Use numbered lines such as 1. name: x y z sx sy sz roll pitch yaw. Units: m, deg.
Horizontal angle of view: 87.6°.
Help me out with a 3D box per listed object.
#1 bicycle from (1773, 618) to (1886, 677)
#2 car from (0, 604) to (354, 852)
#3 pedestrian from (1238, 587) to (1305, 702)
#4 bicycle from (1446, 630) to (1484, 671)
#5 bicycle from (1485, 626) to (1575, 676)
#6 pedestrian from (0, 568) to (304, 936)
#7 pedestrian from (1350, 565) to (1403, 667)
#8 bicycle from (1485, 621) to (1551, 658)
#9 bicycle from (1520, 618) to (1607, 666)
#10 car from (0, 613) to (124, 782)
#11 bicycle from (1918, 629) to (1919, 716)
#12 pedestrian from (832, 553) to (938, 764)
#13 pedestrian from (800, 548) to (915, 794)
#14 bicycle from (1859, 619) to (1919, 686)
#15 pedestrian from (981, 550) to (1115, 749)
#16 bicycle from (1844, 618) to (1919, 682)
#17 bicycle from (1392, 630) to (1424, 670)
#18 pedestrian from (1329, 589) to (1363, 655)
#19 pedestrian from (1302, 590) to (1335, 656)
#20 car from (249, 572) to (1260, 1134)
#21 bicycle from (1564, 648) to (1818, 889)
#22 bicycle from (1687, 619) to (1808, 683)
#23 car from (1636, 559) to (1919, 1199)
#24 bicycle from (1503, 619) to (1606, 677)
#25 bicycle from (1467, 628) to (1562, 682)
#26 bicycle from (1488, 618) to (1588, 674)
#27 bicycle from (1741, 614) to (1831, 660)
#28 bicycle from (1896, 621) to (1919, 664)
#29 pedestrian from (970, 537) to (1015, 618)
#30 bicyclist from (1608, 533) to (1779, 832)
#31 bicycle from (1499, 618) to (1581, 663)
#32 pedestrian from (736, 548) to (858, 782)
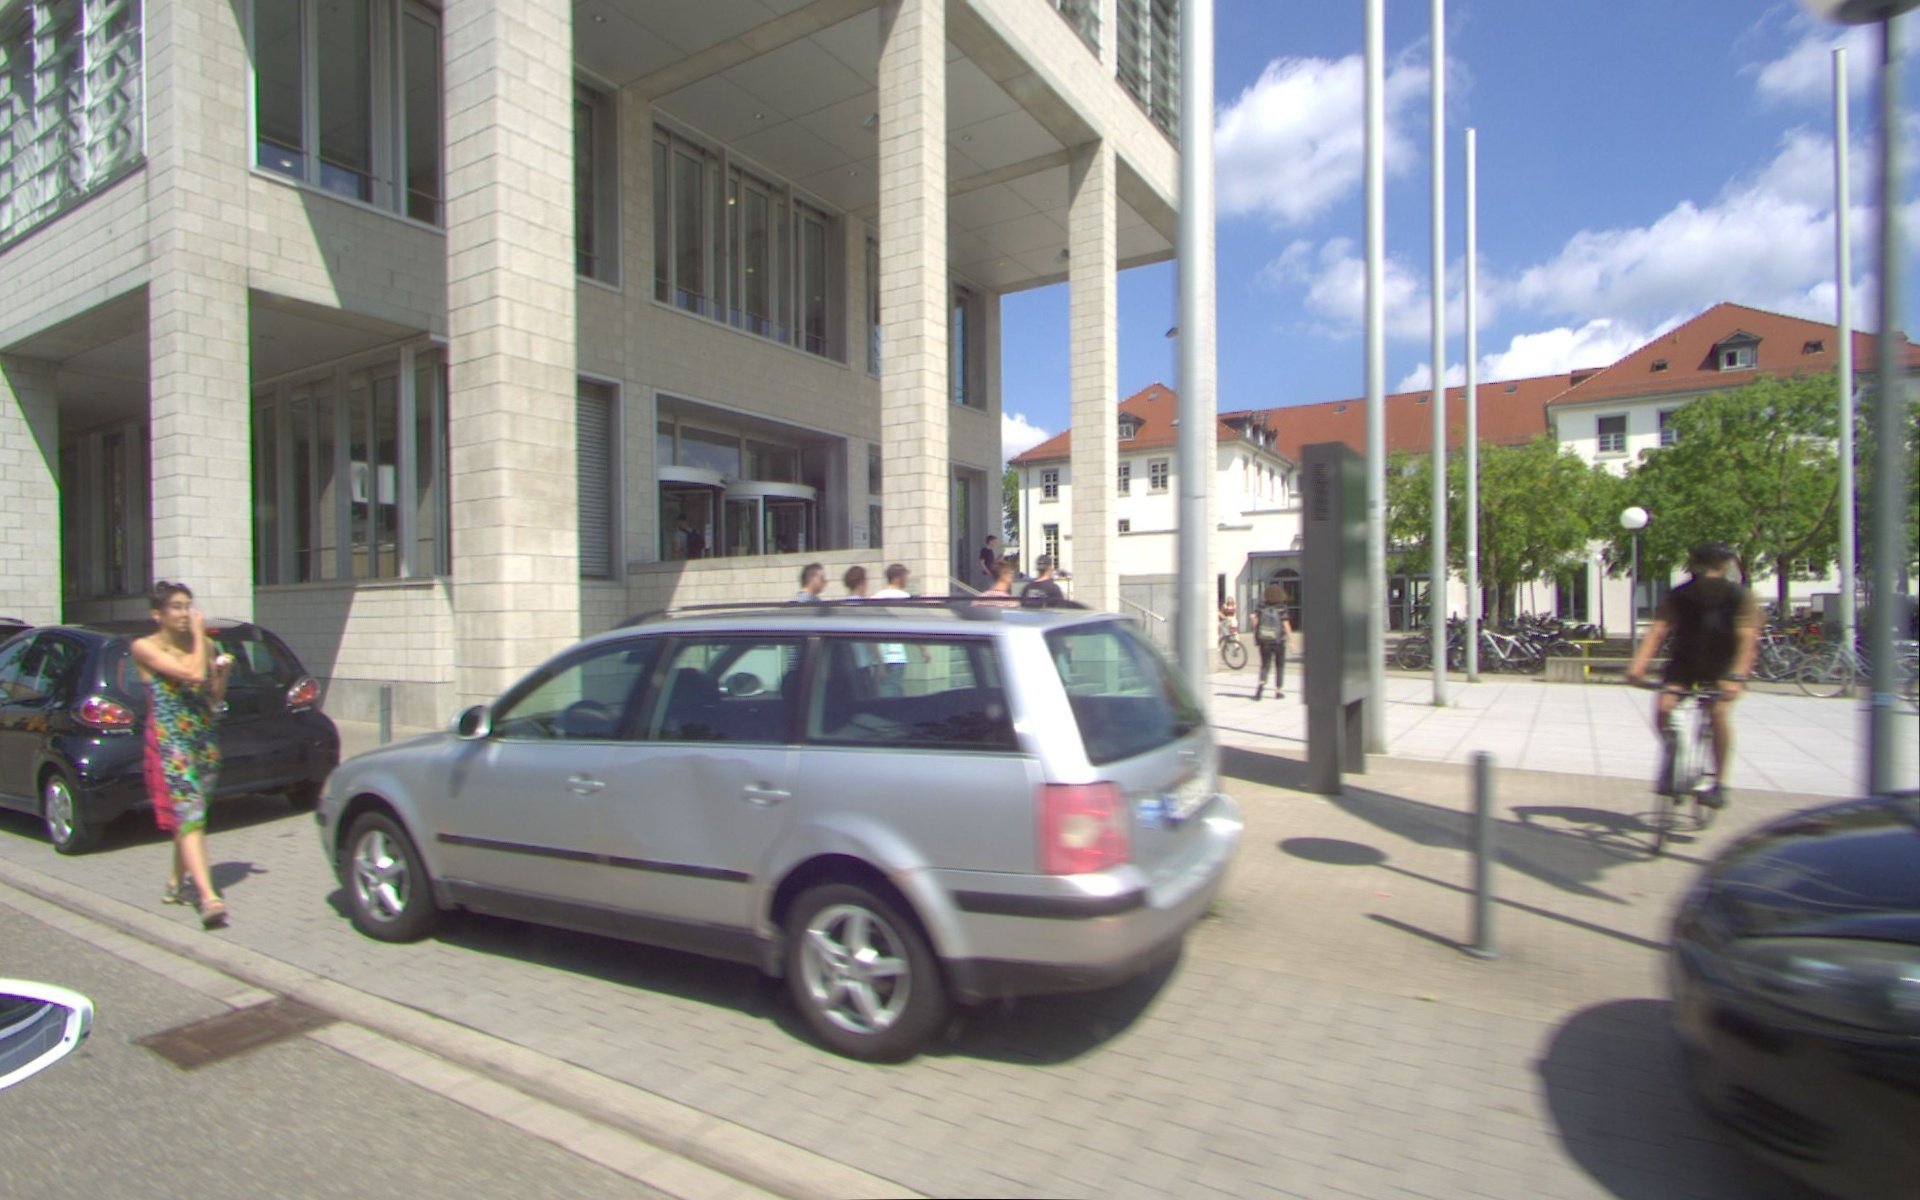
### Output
1. bicycle: 17.780 0.965 20.503 1.733 1.113 0.604 -2 -1 1
2. car: -6.643 0.819 7.820 3.947 1.516 1.612 -1 -1 31
3. pedestrian: 4.620 0.645 14.867 0.724 1.661 0.691 0 0 -6
4. bicycle: 10.836 1.063 21.526 0.511 0.803 1.764 0 0 19
5. bicycle: 13.570 1.204 23.858 1.733 1.113 0.604 -2 -1 1
6. pedestrian: -4.050 0.726 5.070 1.020 1.740 0.624 -1 0 0
7. pedestrian: 9.496 0.373 22.849 0.838 2.258 0.634 -2 -1 -3
8. bicycle: 17.846 1.263 32.034 1.733 1.113 0.604 -2 -1 1
9. bicycle: 14.996 1.035 24.901 1.733 1.113 0.604 -2 -1 1
10. car: -10.355 0.887 9.947 4.455 1.483 1.863 -1 -1 32
11. bicycle: 13.376 0.976 12.682 1.668 1.153 0.679 1 1 32
12. pedestrian: -0.729 0.552 9.795 0.741 1.951 0.721 0 0 35
13. pedestrian: -0.856 0.568 8.426 0.585 1.951 0.781 0 0 36
14. bicycle: 16.865 0.892 17.479 1.733 1.113 0.604 -2 -1 1
15. pedestrian: 0.940 0.493 10.527 1.006 1.945 1.092 0 0 33
16. bicycle: 17.428 0.905 18.410 1.733 1.113 0.604 -2 -1 1
17. bicycle: 9.850 1.078 22.051 0.511 0.803 1.764 0 0 19
18. pedestrian: 10.726 0.612 27.829 0.622 1.769 0.716 -2 -1 3
19. pedestrian: 9.881 0.640 27.629 0.622 1.769 0.716 -2 -1 3
20. car: -1.103 0.710 4.593 4.497 1.550 1.716 -1 1 29
21. bicycle: 4.397 0.872 5.948 2.133 1.093 0.895 0 -1 -45
22. bicycle: 14.696 0.944 18.715 1.733 1.113 0.604 -2 -1 1
23. car: 3.551 0.675 1.673 3.943 1.549 1.715 -1 0 33
24. bicycle: 12.340 0.997 20.820 1.733 1.113 0.604 -2 -1 1
25. bicycle: 12.322 1.209 22.275 1.733 1.113 0.604 -2 -1 1
26. bicycle: 12.418 0.985 21.541 1.733 1.113 0.604 -2 -1 1
27. bicycle: 21.198 0.941 25.711 1.733 1.113 0.604 -2 -1 1
28. bicycle: 26.293 1.122 26.865 1.733 1.113 0.604 -2 -1 1
29. pedestrian: 0.760 -0.507 23.159 0.707 1.821 0.716 -3 -1 35
30. bicyclist: 4.307 0.442 5.870 0.924 1.585 0.657 -1 0 -43
31. bicycle: 15.137 1.058 26.156 1.733 1.113 0.604 -2 -1 1
32. pedestrian: -1.443 0.553 8.883 0.726 1.951 0.778 0 0 40
